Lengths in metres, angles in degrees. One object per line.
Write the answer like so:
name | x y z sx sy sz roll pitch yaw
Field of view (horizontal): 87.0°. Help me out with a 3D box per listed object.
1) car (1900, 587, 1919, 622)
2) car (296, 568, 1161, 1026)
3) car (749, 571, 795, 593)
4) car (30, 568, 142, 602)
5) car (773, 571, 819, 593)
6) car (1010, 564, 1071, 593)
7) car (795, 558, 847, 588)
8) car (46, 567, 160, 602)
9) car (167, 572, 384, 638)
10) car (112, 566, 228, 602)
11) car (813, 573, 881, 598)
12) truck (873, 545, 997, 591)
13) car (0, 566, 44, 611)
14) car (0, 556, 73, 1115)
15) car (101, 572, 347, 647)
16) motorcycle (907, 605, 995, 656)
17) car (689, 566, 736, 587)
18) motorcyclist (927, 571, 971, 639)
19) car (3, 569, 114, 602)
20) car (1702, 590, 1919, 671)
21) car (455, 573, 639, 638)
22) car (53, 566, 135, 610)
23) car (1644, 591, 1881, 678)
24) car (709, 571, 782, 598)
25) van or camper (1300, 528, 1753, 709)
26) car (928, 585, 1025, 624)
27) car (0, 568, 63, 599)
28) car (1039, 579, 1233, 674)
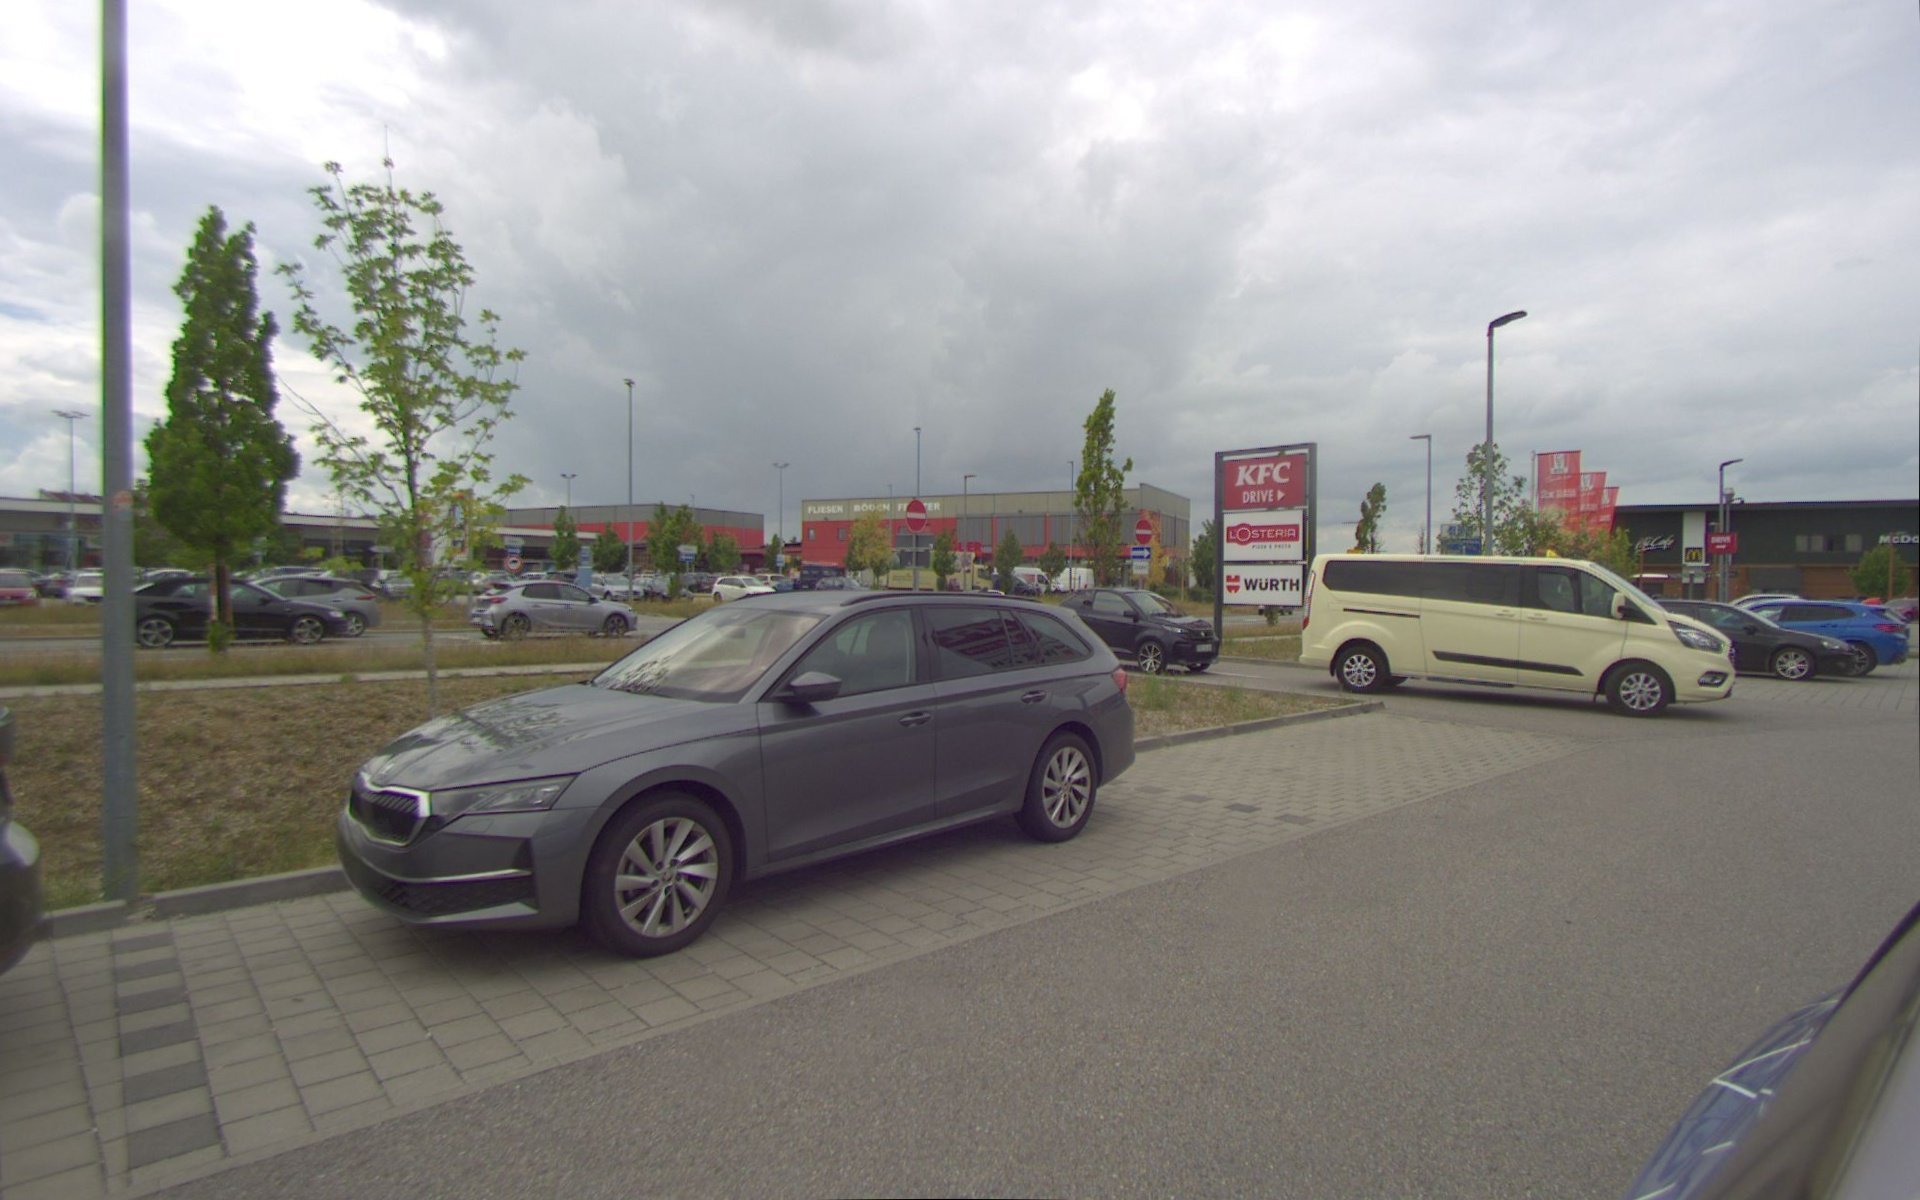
car | 57.615 0.264 58.756 1.958 2.039 4.008 0 0 -15
car | -0.853 0.624 5.554 1.747 1.509 4.416 0 1 44
car | -14.683 -1.405 79.206 1.743 1.674 3.807 1 2 23
car | -44.638 -0.759 51.755 1.858 1.660 3.965 1 1 25
car | -12.600 -1.404 77.953 1.743 1.674 3.807 1 2 23
car | 6.368 -1.676 79.734 4.393 2.149 1.982 0 0 26
car | -10.467 -2.034 76.517 2.003 2.232 4.316 1 2 23
car | -42.551 -0.756 50.332 1.858 1.660 3.965 1 1 25
car | -16.736 0.085 24.838 4.192 1.474 1.996 -1 1 -43
car | -37.415 -0.762 48.047 1.858 1.660 3.965 1 1 25
car | -6.791 -0.886 60.914 3.807 1.445 1.725 1 1 29
truck | -1.673 -2.115 68.401 8.015 2.982 2.684 -1 1 -26
car | -33.233 -0.413 35.122 3.984 1.494 1.751 1 1 42
car | -4.662 0.656 1.753 1.746 1.509 4.562 0 1 42
car | -15.250 0.150 21.082 3.935 1.415 1.904 0 1 -45
motorcycle | -0.197 0.589 20.183 1.861 0.928 0.548 1 1 42
car | -19.729 -1.898 80.878 1.743 1.674 3.807 1 2 23
motorcyclist | -0.223 0.089 20.250 0.670 1.332 0.566 0 0 42
car | -47.145 -0.757 52.988 1.858 1.660 3.965 1 1 25
car | 17.905 0.579 21.308 1.657 1.562 3.435 -1 0 -43
car | -10.358 0.102 25.534 3.933 1.513 1.819 0 1 -43
car | -31.380 -0.438 36.644 3.984 1.494 1.751 1 1 42
car | 15.776 0.608 19.995 1.674 1.568 3.517 -1 0 -45
car | -11.853 -0.836 55.893 3.981 1.460 1.971 0 0 40
van or camper | 7.584 0.181 13.972 5.203 2.087 1.835 1 1 36
car | 0.714 0.162 41.193 1.753 1.499 3.992 0 1 44
car | -52.023 -0.929 55.401 1.858 1.660 3.965 1 1 25
car | 3.036 0.385 17.806 1.481 1.465 3.119 0 2 -43
